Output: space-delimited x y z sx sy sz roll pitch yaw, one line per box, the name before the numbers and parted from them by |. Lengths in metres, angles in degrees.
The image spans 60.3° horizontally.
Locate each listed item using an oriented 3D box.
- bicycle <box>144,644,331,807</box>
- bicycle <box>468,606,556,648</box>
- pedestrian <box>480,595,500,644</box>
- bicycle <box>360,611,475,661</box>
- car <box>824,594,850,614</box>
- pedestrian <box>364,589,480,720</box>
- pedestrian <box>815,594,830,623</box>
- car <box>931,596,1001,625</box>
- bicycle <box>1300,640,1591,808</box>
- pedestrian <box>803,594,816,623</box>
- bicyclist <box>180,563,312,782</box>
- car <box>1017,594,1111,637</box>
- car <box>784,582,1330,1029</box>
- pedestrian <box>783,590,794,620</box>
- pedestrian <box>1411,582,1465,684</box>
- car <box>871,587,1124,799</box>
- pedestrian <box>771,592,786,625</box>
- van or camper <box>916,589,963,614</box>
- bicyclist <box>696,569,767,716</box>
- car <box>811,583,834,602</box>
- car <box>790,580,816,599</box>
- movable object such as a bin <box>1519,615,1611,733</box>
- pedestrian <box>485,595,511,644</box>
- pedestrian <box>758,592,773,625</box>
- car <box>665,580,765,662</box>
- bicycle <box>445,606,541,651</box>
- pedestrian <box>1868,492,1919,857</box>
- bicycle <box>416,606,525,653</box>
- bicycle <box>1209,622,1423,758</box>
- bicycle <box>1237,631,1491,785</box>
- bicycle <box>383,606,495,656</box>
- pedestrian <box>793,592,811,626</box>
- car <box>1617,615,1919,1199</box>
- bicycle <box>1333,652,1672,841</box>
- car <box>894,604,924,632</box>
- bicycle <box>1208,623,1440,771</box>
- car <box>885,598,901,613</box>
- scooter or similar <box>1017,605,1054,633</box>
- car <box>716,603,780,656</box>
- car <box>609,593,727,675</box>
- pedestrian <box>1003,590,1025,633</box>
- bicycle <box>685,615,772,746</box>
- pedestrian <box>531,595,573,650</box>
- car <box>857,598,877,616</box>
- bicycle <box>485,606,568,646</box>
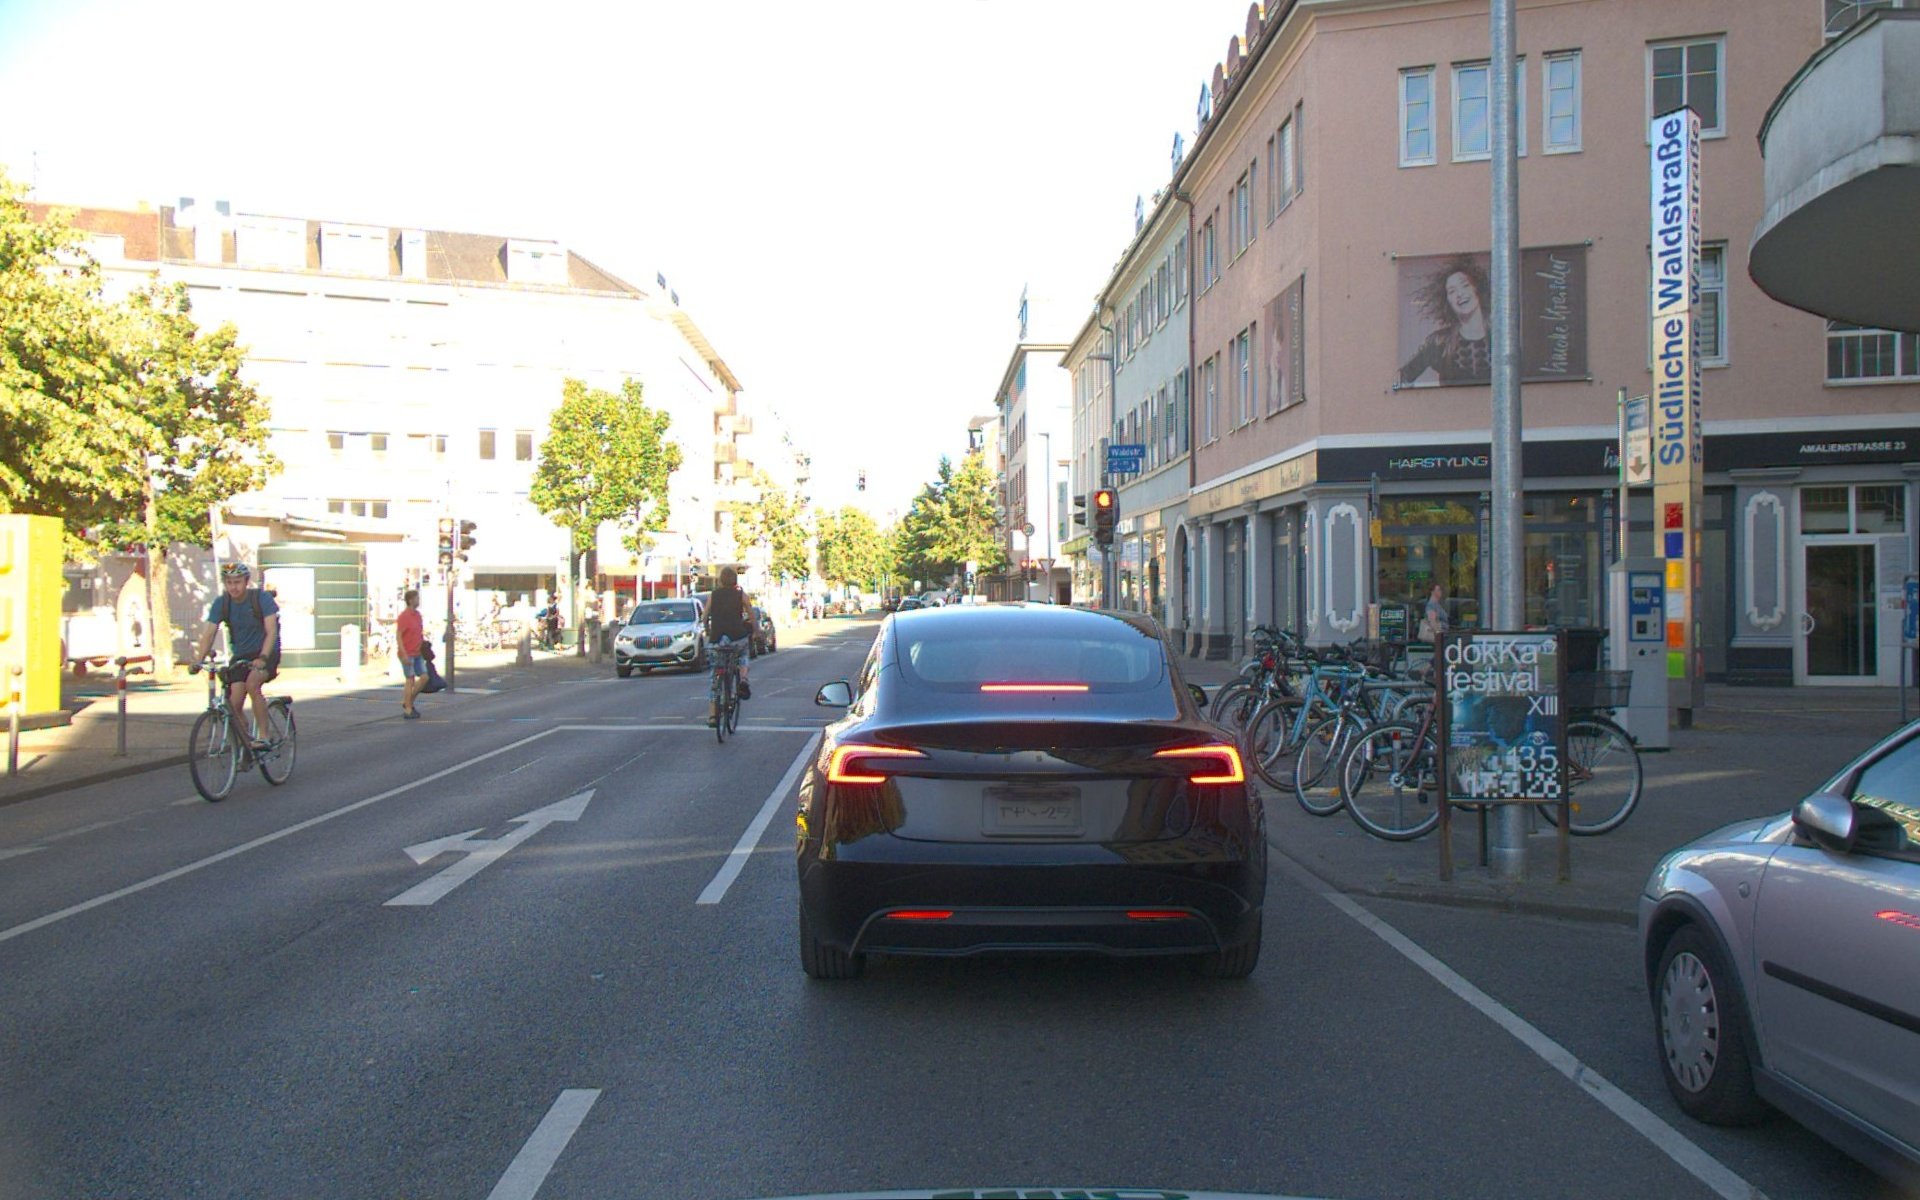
bicycle | -5.895 0.981 13.617 0.603 1.183 1.958 -2 0 2
bicycle | -14.062 0.849 51.920 2.491 1.273 0.942 1 0 -4
pedestrian | -17.344 0.714 61.021 0.648 1.790 0.650 1 -1 -18
bicycle | -13.950 0.924 42.589 2.607 1.216 0.942 1 0 -4
car | -12.344 0.394 166.265 2.365 2.004 4.677 0 0 -1
pedestrian | -7.413 0.735 22.837 1.086 1.750 1.062 1 0 15
pedestrian | -9.025 0.573 108.755 0.762 1.900 1.004 1 -1 -17
car | 0.317 0.552 84.587 1.664 1.414 3.902 1 0 35
bicycle | 3.249 0.822 11.166 1.776 1.078 0.653 0 0 0
pedestrian | -10.214 0.567 112.306 0.684 1.900 0.905 1 -1 -19
bicyclist | -5.907 0.584 13.717 0.686 1.739 0.810 -2 -1 1
car | 4.712 0.703 74.744 3.937 1.900 1.686 0 0 -22
car | 0.298 0.699 7.775 1.812 1.472 4.450 1 0 -1
pedestrian | -10.767 0.312 103.718 0.681 1.900 0.658 1 -1 -6
pedestrian | 7.521 0.510 26.038 0.706 1.576 0.793 1 -1 10
car | 0.242 0.685 14.199 1.812 1.507 4.450 1 0 -1
pedestrian | -10.657 0.495 97.005 0.721 1.900 0.787 1 -1 -17
van or camper | -2.068 0.171 167.523 4.752 2.481 1.850 0 0 -1
bicyclist | -2.421 0.437 17.590 0.594 1.510 0.958 1 0 0
car | -15.601 -0.818 188.065 2.228 2.049 4.717 1 0 0
car | -17.017 -1.131 179.409 2.228 2.049 4.717 1 0 0
movable object such as a bin | 6.041 0.732 16.545 0.623 1.122 0.728 -2 0 3
pedestrian | -16.869 0.706 60.347 0.832 1.790 0.702 1 -1 -21
pedestrian | -11.397 0.481 96.728 0.721 1.900 0.787 1 -1 -17
car | -6.232 0.505 42.568 1.906 1.981 4.819 0 0 -1
bicycle | -14.010 0.844 49.646 2.609 1.281 0.942 1 0 -4
pedestrian | 5.261 0.374 8.476 0.666 1.882 0.894 -3 -1 5
bicycle | -14.001 0.829 47.328 2.818 1.292 0.942 1 0 -4
bicycle | 3.161 0.791 14.780 1.776 1.172 0.653 0 0 0
bicycle | 3.048 0.805 12.570 1.776 1.121 0.653 0 0 0
bicycle | -14.124 0.842 44.926 2.725 1.296 0.932 1 0 -4
pedestrian | -9.033 0.513 94.577 0.719 1.900 0.790 1 -1 28
car | 2.920 0.781 3.540 1.551 1.451 3.579 1 0 -1
bicycle | 3.278 0.874 10.094 1.844 1.062 0.653 -1 0 0
car | -3.489 1.197 112.759 1.995 1.819 4.004 0 0 -3
bicycle | 2.977 0.783 13.642 1.776 1.172 0.653 0 0 0
car | -8.293 0.642 204.378 1.854 1.845 3.923 1 0 -2
scooter or similar | 3.164 0.809 69.477 1.317 1.154 0.803 1 -1 -25
car | -6.336 0.853 49.695 1.431 1.455 3.605 -3 0 -1
car | -6.324 0.710 36.240 1.788 1.592 4.299 -3 0 -1
pedestrian | 2.253 0.480 69.062 0.649 1.790 0.649 1 -1 -24
bicycle | -2.427 0.814 17.534 0.615 1.244 2.001 1 1 0
pedestrian | -12.368 0.672 50.178 1.072 1.639 1.264 1 0 -9
car | -10.501 0.829 186.969 2.089 2.004 4.133 0 0 -1
bicycle | -14.228 0.856 54.342 2.491 1.273 0.942 1 0 -4
